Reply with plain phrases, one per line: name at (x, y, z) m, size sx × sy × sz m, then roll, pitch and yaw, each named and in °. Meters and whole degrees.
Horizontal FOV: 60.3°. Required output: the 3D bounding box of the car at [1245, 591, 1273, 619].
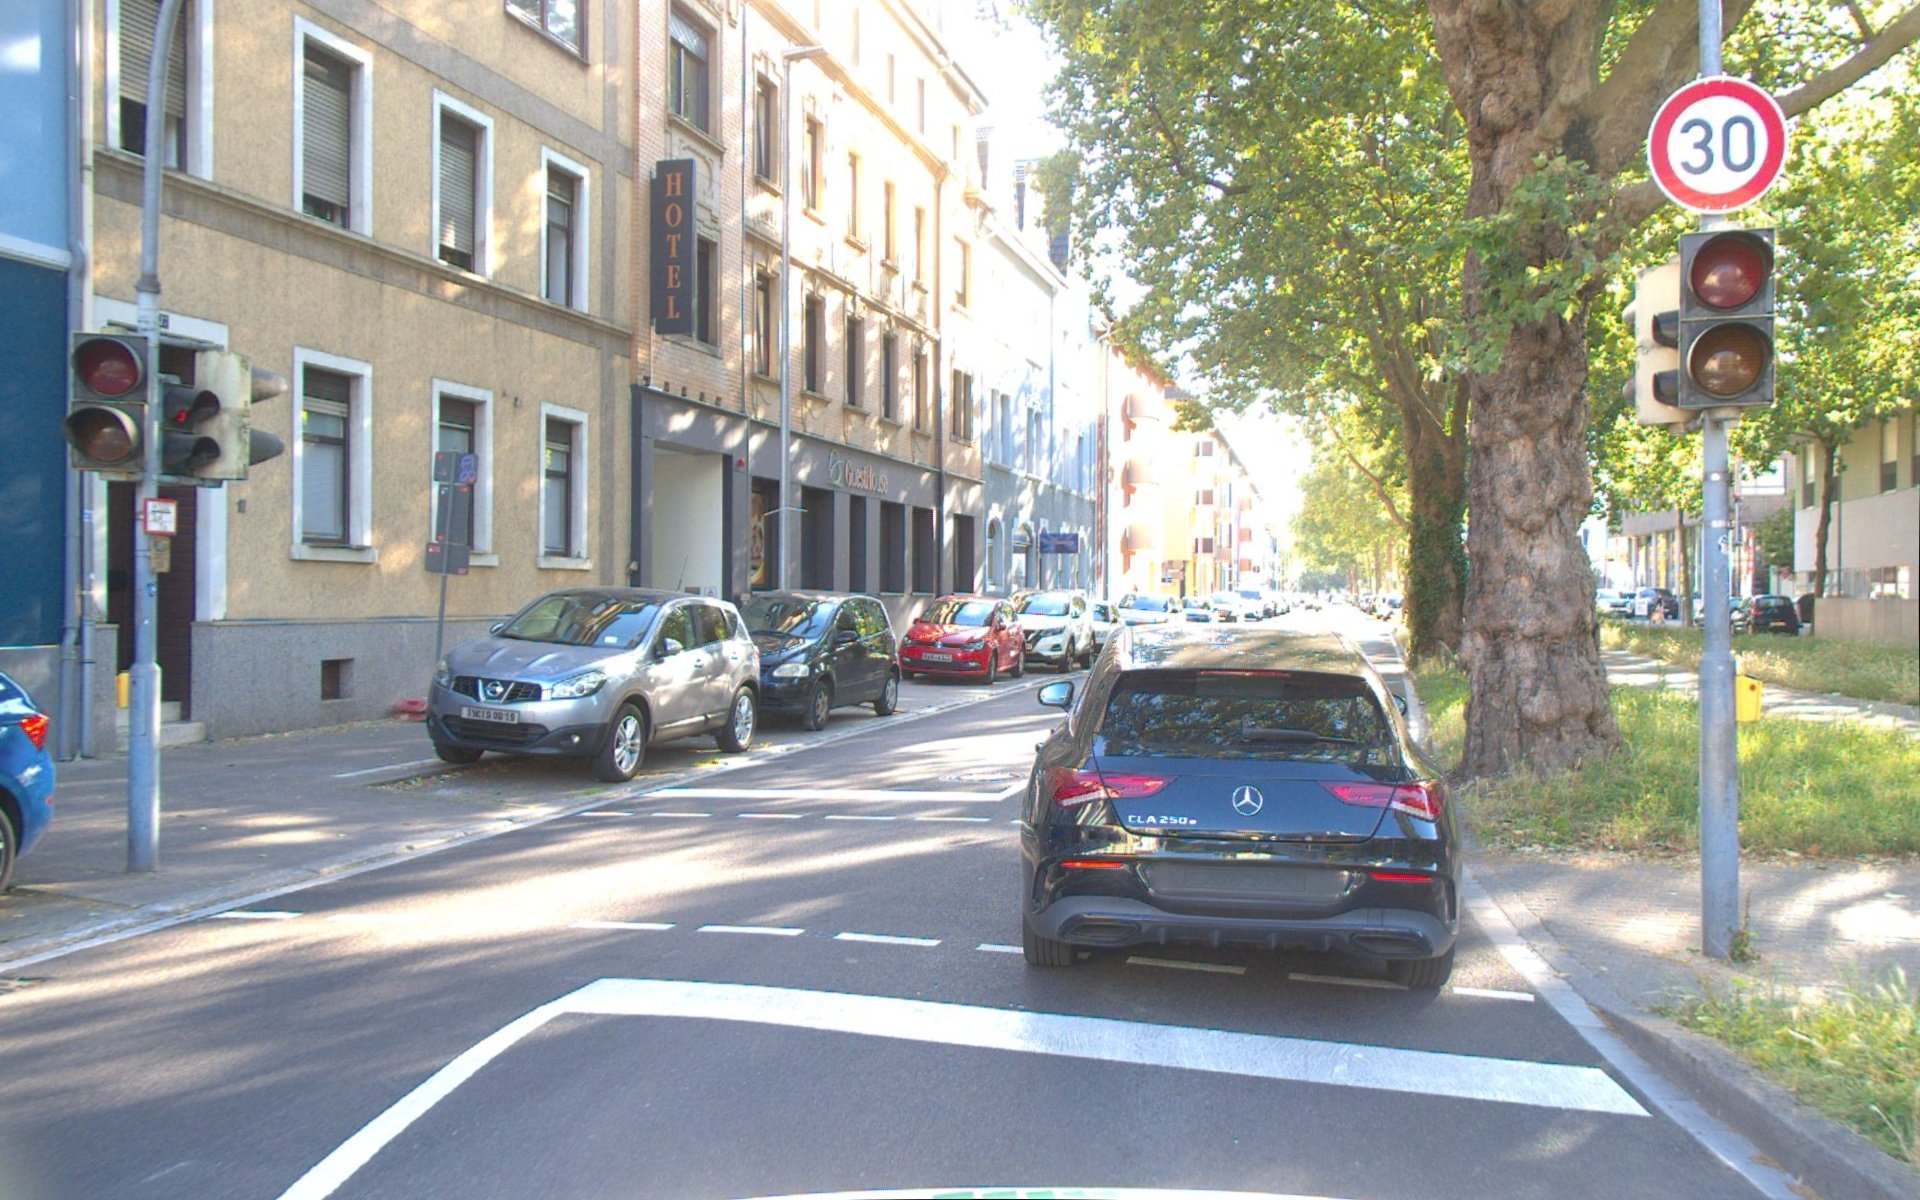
car at (20.217, 0.324, 111.675) m, size 1.708 × 1.818 × 4.553 m, roll 2°, pitch 1°, yaw 12°

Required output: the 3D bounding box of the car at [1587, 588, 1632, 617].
car at (39.336, 0.144, 100.229) m, size 1.835 × 1.764 × 4.184 m, roll 0°, pitch 0°, yaw 11°

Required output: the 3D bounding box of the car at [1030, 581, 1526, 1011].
car at (1.233, 0.670, 7.863) m, size 1.708 × 1.468 × 3.971 m, roll 2°, pitch 1°, yaw 3°

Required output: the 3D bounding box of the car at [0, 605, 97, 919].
car at (-5.804, 0.788, 6.772) m, size 1.615 × 1.512 × 4.266 m, roll 2°, pitch 1°, yaw 13°

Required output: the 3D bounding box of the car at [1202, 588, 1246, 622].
car at (12.639, 0.225, 79.020) m, size 1.642 × 1.550 × 4.024 m, roll 2°, pitch 1°, yaw 15°

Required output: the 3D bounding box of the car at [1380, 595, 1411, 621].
car at (26.480, 0.492, 100.628) m, size 1.600 × 1.493 × 4.024 m, roll -1°, pitch -1°, yaw 12°

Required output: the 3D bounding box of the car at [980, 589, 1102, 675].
car at (1.745, 0.601, 34.159) m, size 1.642 × 1.612 × 4.203 m, roll 2°, pitch 1°, yaw 15°

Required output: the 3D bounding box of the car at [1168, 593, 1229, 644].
car at (8.453, 0.624, 58.440) m, size 1.642 × 1.670 × 3.987 m, roll 2°, pitch 1°, yaw 15°

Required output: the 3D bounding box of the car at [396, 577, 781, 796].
car at (-3.260, 0.682, 15.451) m, size 1.744 × 1.702 × 4.159 m, roll 2°, pitch 1°, yaw 15°

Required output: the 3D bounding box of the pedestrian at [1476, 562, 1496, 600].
pedestrian at (25.612, -0.921, 80.535) m, size 0.751 × 1.792 × 0.664 m, roll -2°, pitch 0°, yaw 3°

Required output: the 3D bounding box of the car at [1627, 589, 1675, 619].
car at (41.505, 0.202, 99.457) m, size 1.943 × 1.764 × 4.184 m, roll 0°, pitch 0°, yaw 12°

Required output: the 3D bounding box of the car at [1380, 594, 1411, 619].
car at (28.268, 0.427, 107.456) m, size 1.772 × 1.566 × 4.586 m, roll -3°, pitch -1°, yaw 14°

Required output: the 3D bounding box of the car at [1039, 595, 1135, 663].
car at (3.154, 0.666, 40.461) m, size 1.642 × 1.522 × 3.874 m, roll 2°, pitch 1°, yaw 15°

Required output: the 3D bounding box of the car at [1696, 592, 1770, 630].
car at (31.231, 0.436, 66.931) m, size 1.819 × 1.494 × 4.127 m, roll 0°, pitch 0°, yaw 12°

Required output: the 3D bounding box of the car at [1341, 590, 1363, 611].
car at (40.815, 0.037, 172.362) m, size 1.951 × 2.049 × 4.003 m, roll 1°, pitch -1°, yaw 10°

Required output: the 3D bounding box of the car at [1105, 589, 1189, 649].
car at (5.789, 0.539, 50.668) m, size 1.867 × 1.670 × 4.580 m, roll 2°, pitch 1°, yaw 15°

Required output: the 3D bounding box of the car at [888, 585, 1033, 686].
car at (0.087, 0.584, 29.544) m, size 1.642 × 1.620 × 3.759 m, roll 2°, pitch 1°, yaw 15°

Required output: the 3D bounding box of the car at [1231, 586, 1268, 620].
car at (17.297, 0.144, 98.726) m, size 1.697 × 1.940 × 5.212 m, roll 1°, pitch 0°, yaw 15°

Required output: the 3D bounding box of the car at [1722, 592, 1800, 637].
car at (29.297, 0.509, 60.563) m, size 1.819 × 1.580 × 3.762 m, roll 0°, pitch 0°, yaw 14°

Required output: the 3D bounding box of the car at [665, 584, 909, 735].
car at (-2.014, 0.652, 20.347) m, size 1.642 × 1.633 × 3.707 m, roll 2°, pitch 1°, yaw 17°

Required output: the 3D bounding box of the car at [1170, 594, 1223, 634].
car at (9.478, 0.548, 66.165) m, size 1.642 × 1.512 × 3.604 m, roll 2°, pitch 1°, yaw 15°
